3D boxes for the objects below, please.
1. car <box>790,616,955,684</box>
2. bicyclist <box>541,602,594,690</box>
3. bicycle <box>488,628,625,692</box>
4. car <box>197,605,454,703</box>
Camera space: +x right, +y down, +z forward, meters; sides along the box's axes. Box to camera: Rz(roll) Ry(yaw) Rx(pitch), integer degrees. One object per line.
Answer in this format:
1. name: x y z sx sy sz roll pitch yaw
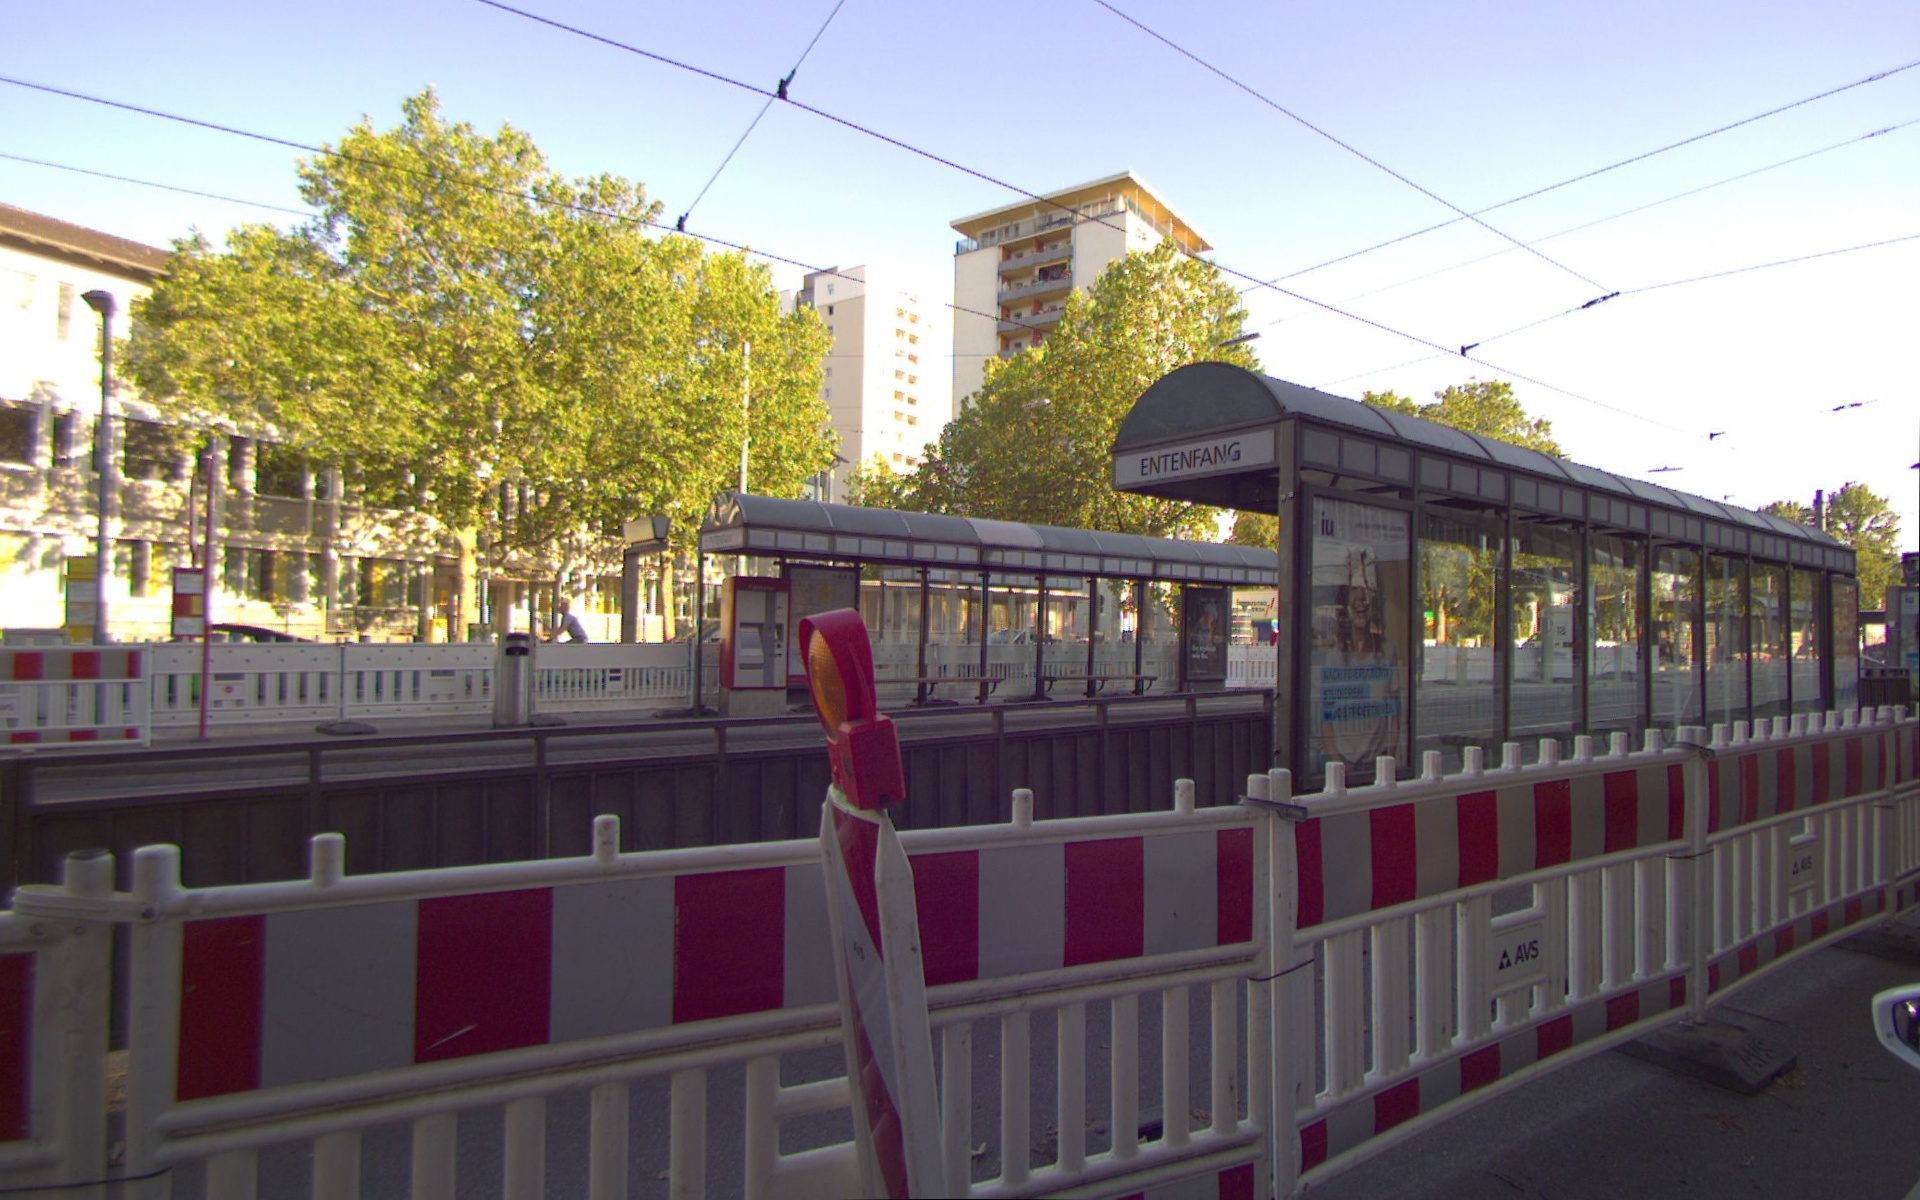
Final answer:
1. car: -2.305 1.308 26.727 3.959 1.683 1.901 2 -2 -34
2. bicyclist: -7.969 0.927 20.391 0.826 1.751 0.728 2 -2 -35
3. bicycle: -8.117 1.192 20.279 2.456 1.223 0.685 2 -2 -36
4. car: -12.046 1.012 19.286 3.958 1.683 1.982 2 -2 -33
